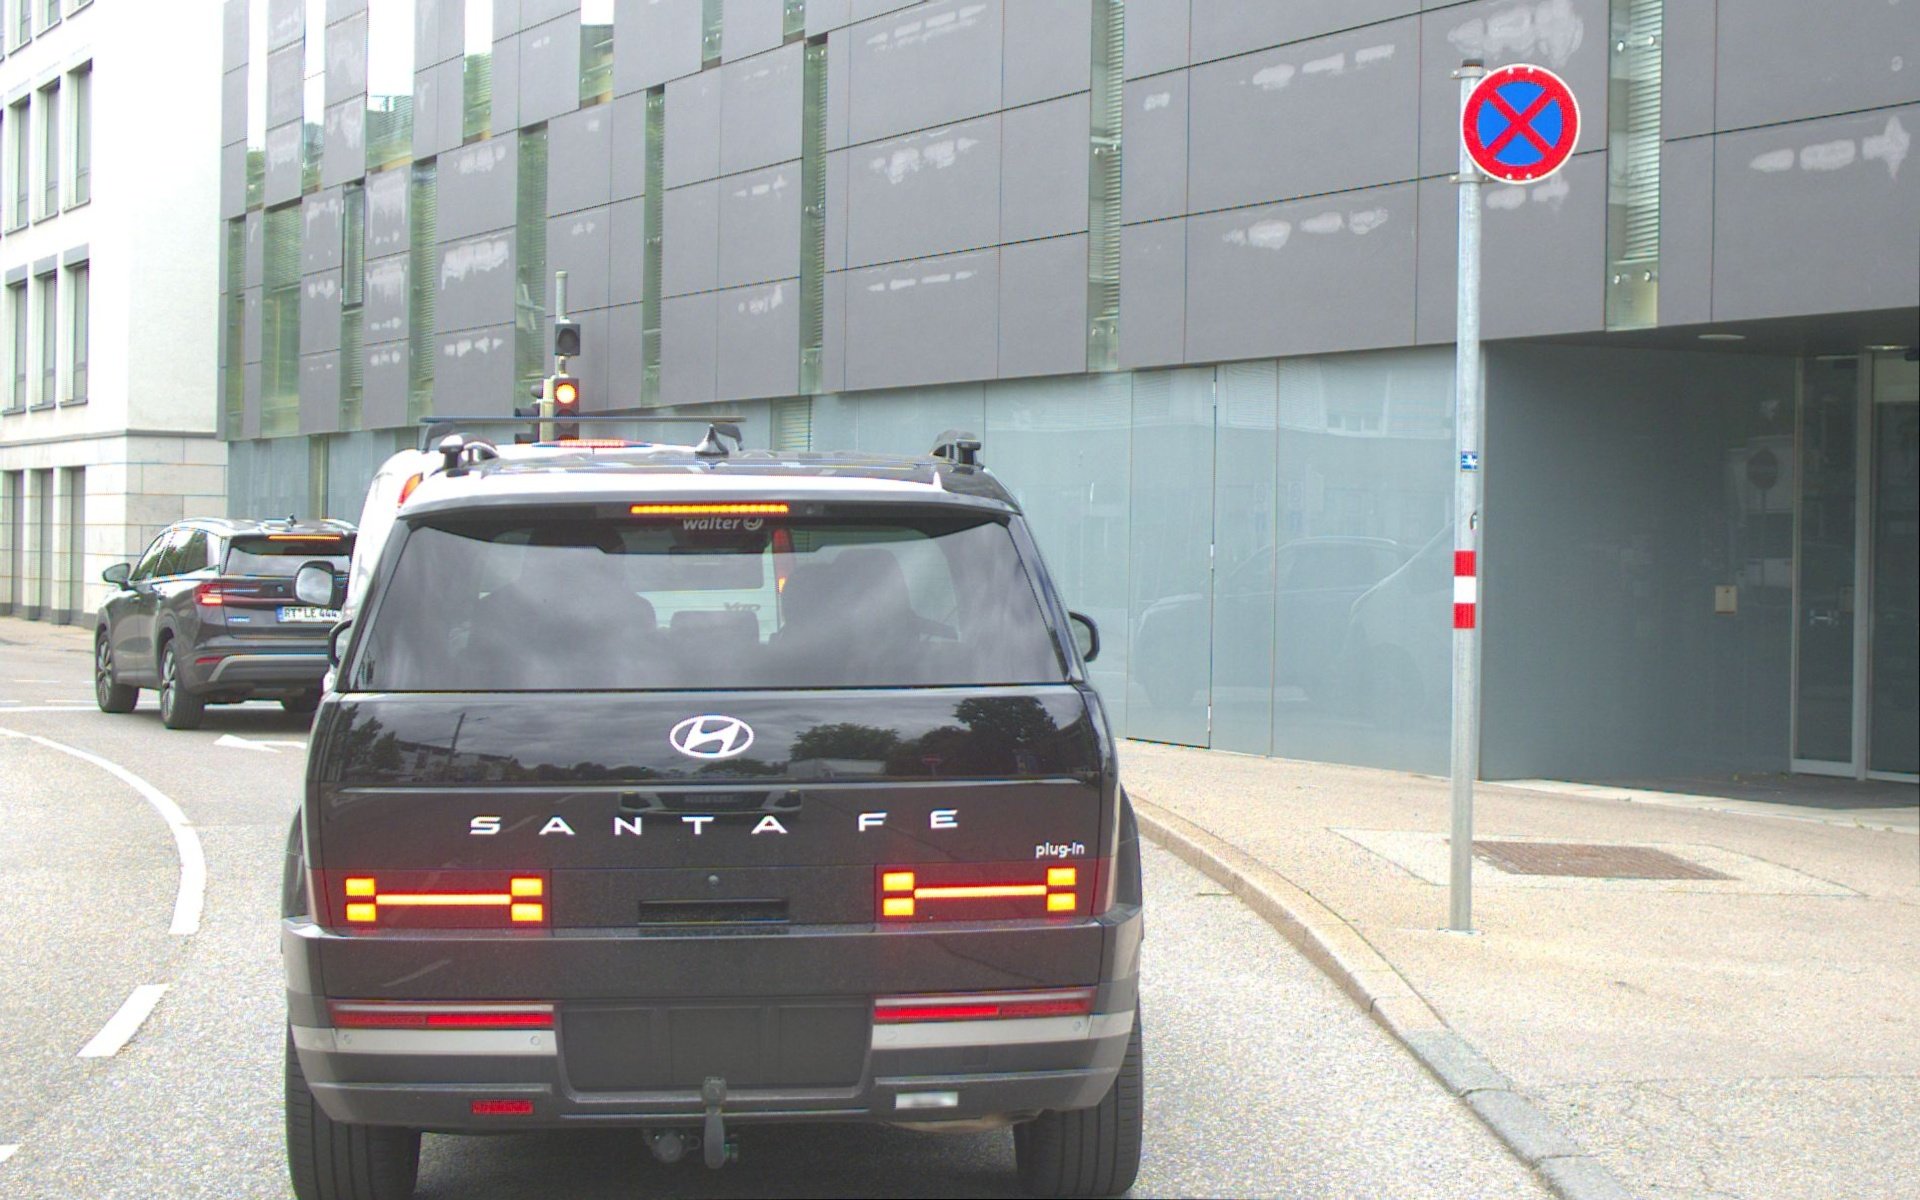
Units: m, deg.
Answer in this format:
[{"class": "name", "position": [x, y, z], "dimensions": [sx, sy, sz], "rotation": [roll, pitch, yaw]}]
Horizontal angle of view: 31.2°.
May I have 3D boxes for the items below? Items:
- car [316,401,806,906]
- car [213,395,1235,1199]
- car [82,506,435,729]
[{"class": "car", "position": [-2.015, 0.164, 16.142], "dimensions": [1.855, 2.026, 4.439], "rotation": [0, 1, -12]}, {"class": "car", "position": [-0.591, 0.466, 8.751], "dimensions": [1.915, 1.719, 4.171], "rotation": [2, 1, -4]}, {"class": "car", "position": [-5.810, 0.101, 28.064], "dimensions": [1.847, 1.671, 4.376], "rotation": [-1, 1, -25]}]
